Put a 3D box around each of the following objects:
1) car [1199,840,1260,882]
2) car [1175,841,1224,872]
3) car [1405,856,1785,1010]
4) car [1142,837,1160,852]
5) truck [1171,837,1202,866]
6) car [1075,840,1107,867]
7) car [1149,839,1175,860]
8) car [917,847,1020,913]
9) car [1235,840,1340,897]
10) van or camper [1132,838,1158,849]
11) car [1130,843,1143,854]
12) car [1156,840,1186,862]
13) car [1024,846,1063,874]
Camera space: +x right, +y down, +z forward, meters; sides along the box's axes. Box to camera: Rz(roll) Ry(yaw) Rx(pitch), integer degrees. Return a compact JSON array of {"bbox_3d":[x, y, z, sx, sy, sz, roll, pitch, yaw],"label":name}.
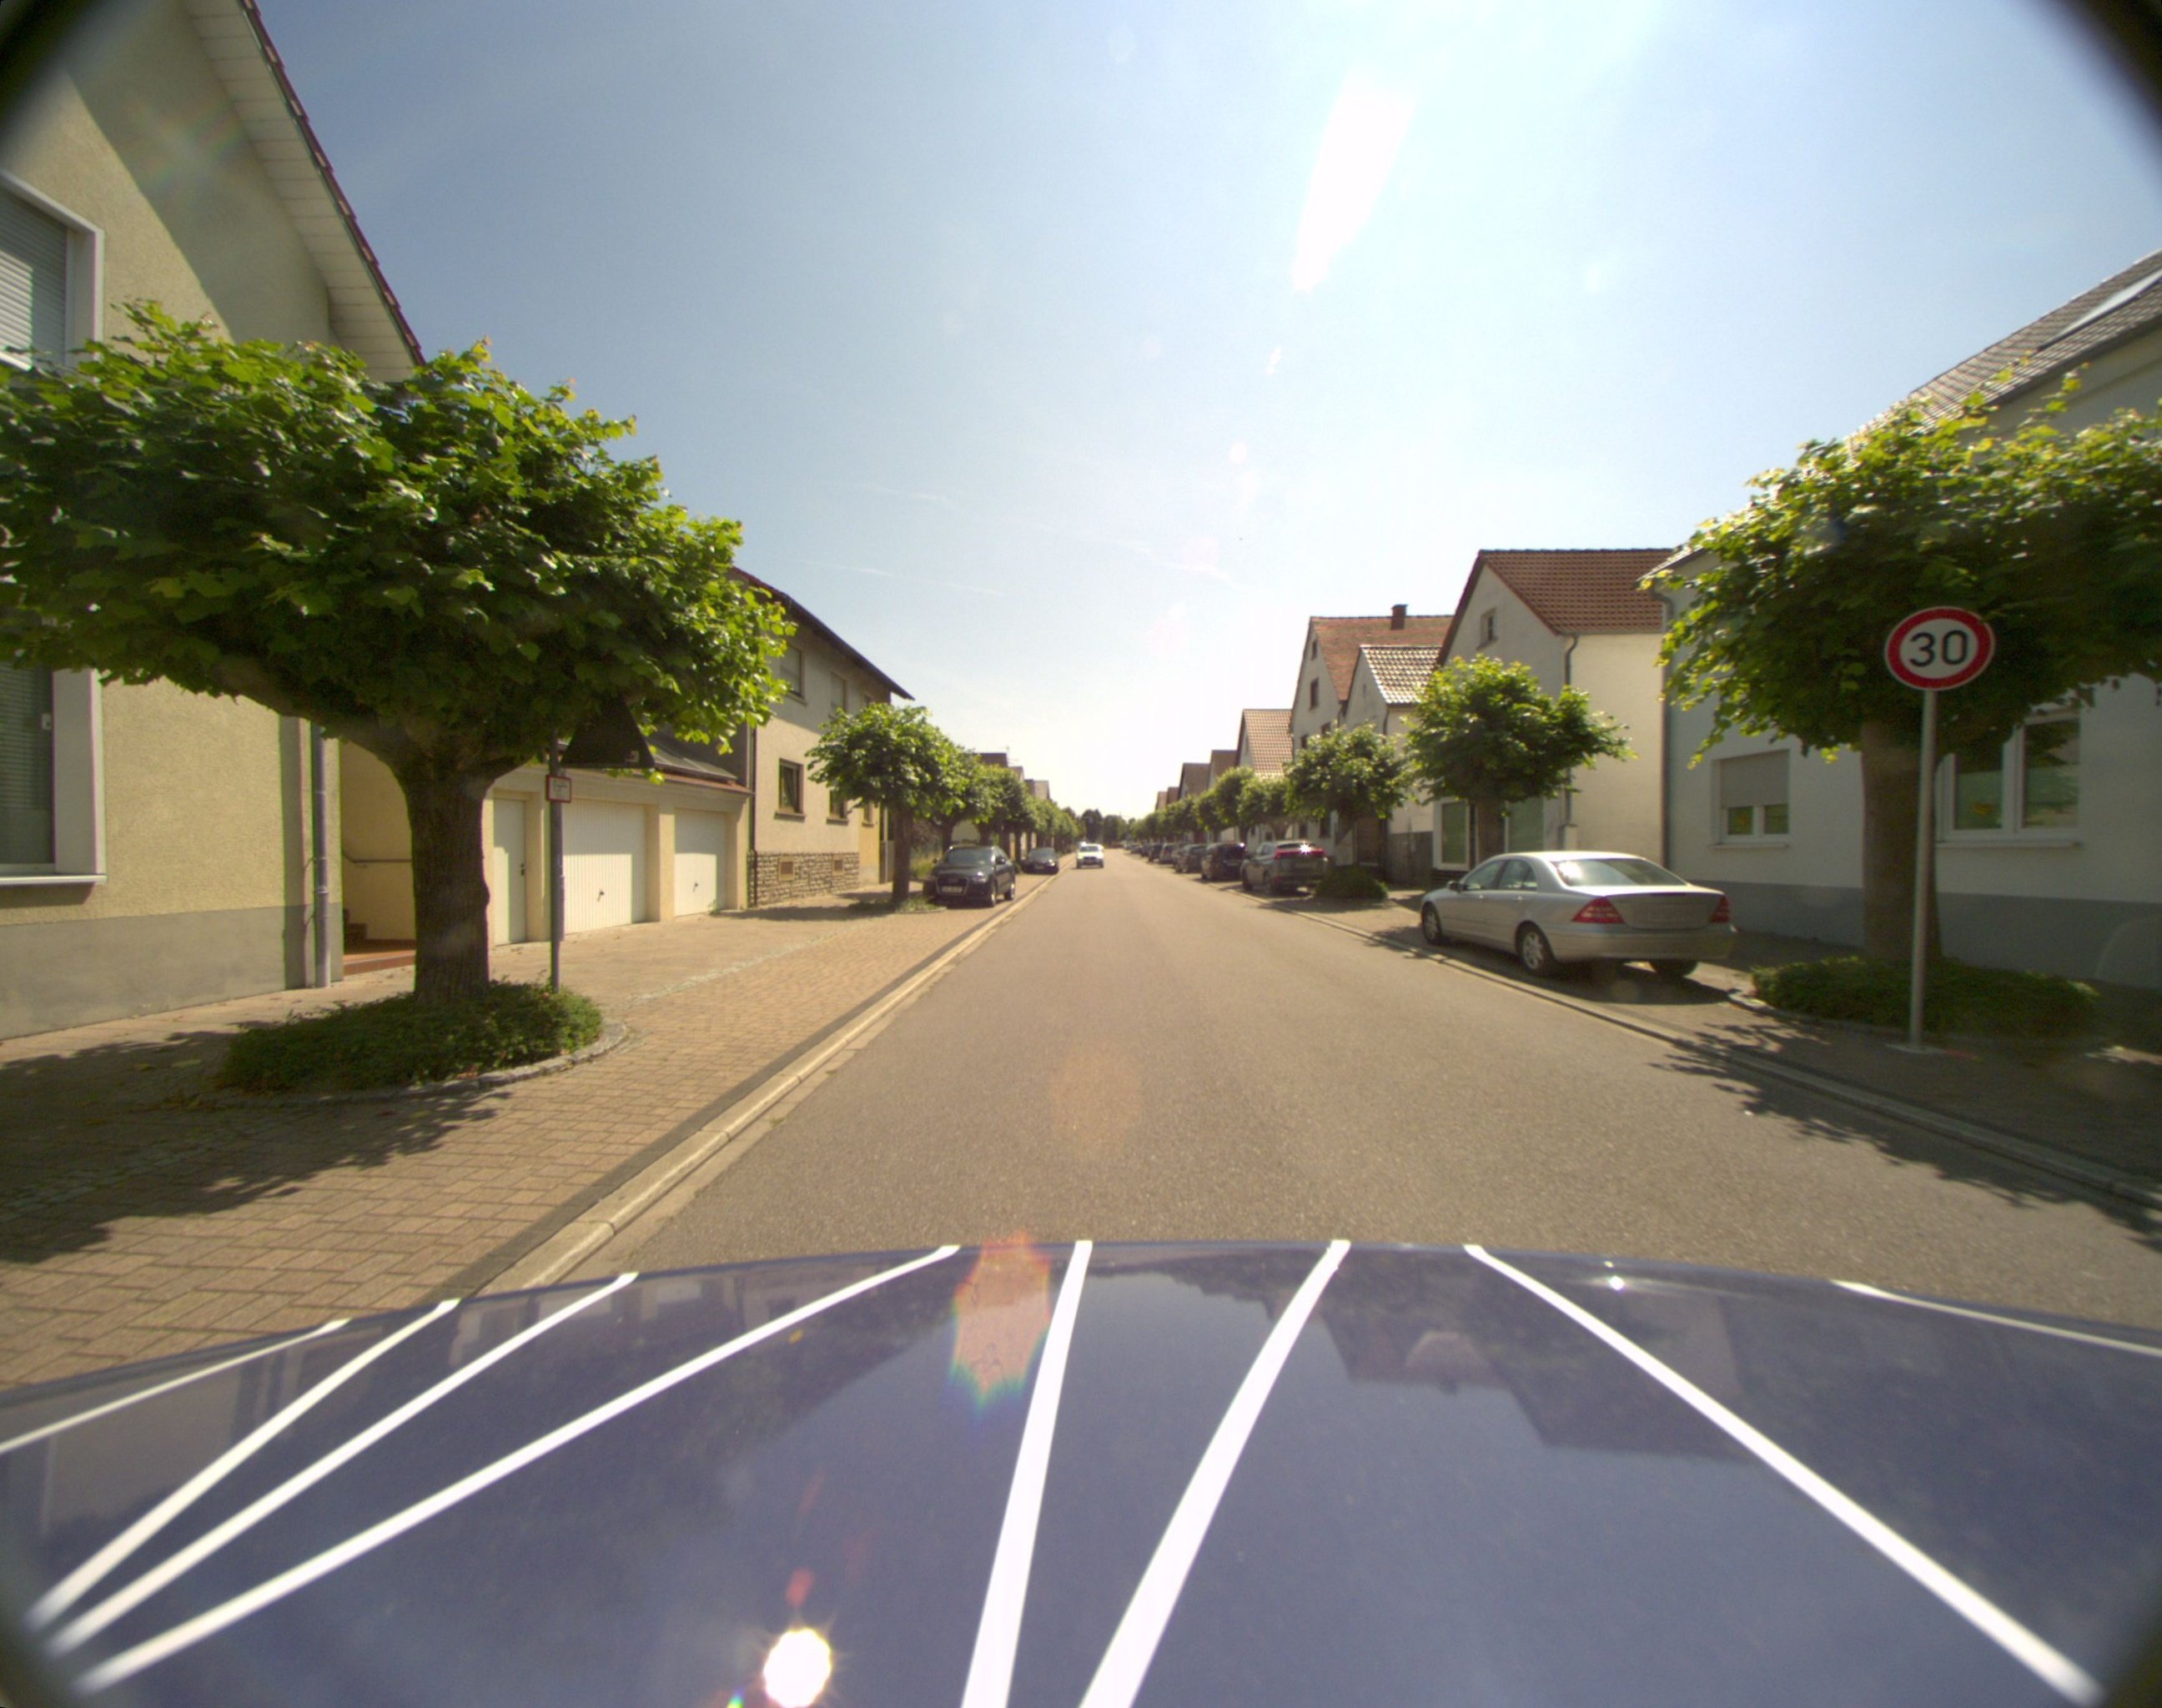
[{"bbox_3d":[6.378,0.255,33.028,1.857,1.626,4.056,-2,1,1],"label":"car"},{"bbox_3d":[6.558,0.096,42.348,1.791,1.624,3.997,-2,1,-4],"label":"car"},{"bbox_3d":[5.909,0.773,9.555,1.845,1.388,4.406,-1,1,1],"label":"car"},{"bbox_3d":[8.092,-1.095,87.549,1.857,1.604,4.135,-2,1,3],"label":"car"},{"bbox_3d":[7.081,-0.204,51.331,1.580,1.755,4.191,-2,1,1],"label":"truck"},{"bbox_3d":[0.709,-0.057,50.199,1.857,1.604,4.135,-2,1,3],"label":"car"},{"bbox_3d":[7.090,-0.398,66.819,1.857,1.627,4.299,-3,0,1],"label":"car"},{"bbox_3d":[-2.918,0.606,20.624,1.828,1.577,4.058,1,1,5],"label":"car"},{"bbox_3d":[6.428,0.386,24.180,1.999,1.643,4.366,-1,1,-2],"label":"car"},{"bbox_3d":[12.117,-1.967,143.681,4.752,1.852,2.000,-2,1,0],"label":"van or camper"},{"bbox_3d":[8.441,-0.838,115.863,1.829,1.474,4.132,-2,1,2],"label":"car"},{"bbox_3d":[7.015,-0.271,59.544,1.857,1.604,4.370,-2,1,1],"label":"car"},{"bbox_3d":[-1.993,0.285,41.805,1.828,1.424,4.056,2,1,1],"label":"car"}]
